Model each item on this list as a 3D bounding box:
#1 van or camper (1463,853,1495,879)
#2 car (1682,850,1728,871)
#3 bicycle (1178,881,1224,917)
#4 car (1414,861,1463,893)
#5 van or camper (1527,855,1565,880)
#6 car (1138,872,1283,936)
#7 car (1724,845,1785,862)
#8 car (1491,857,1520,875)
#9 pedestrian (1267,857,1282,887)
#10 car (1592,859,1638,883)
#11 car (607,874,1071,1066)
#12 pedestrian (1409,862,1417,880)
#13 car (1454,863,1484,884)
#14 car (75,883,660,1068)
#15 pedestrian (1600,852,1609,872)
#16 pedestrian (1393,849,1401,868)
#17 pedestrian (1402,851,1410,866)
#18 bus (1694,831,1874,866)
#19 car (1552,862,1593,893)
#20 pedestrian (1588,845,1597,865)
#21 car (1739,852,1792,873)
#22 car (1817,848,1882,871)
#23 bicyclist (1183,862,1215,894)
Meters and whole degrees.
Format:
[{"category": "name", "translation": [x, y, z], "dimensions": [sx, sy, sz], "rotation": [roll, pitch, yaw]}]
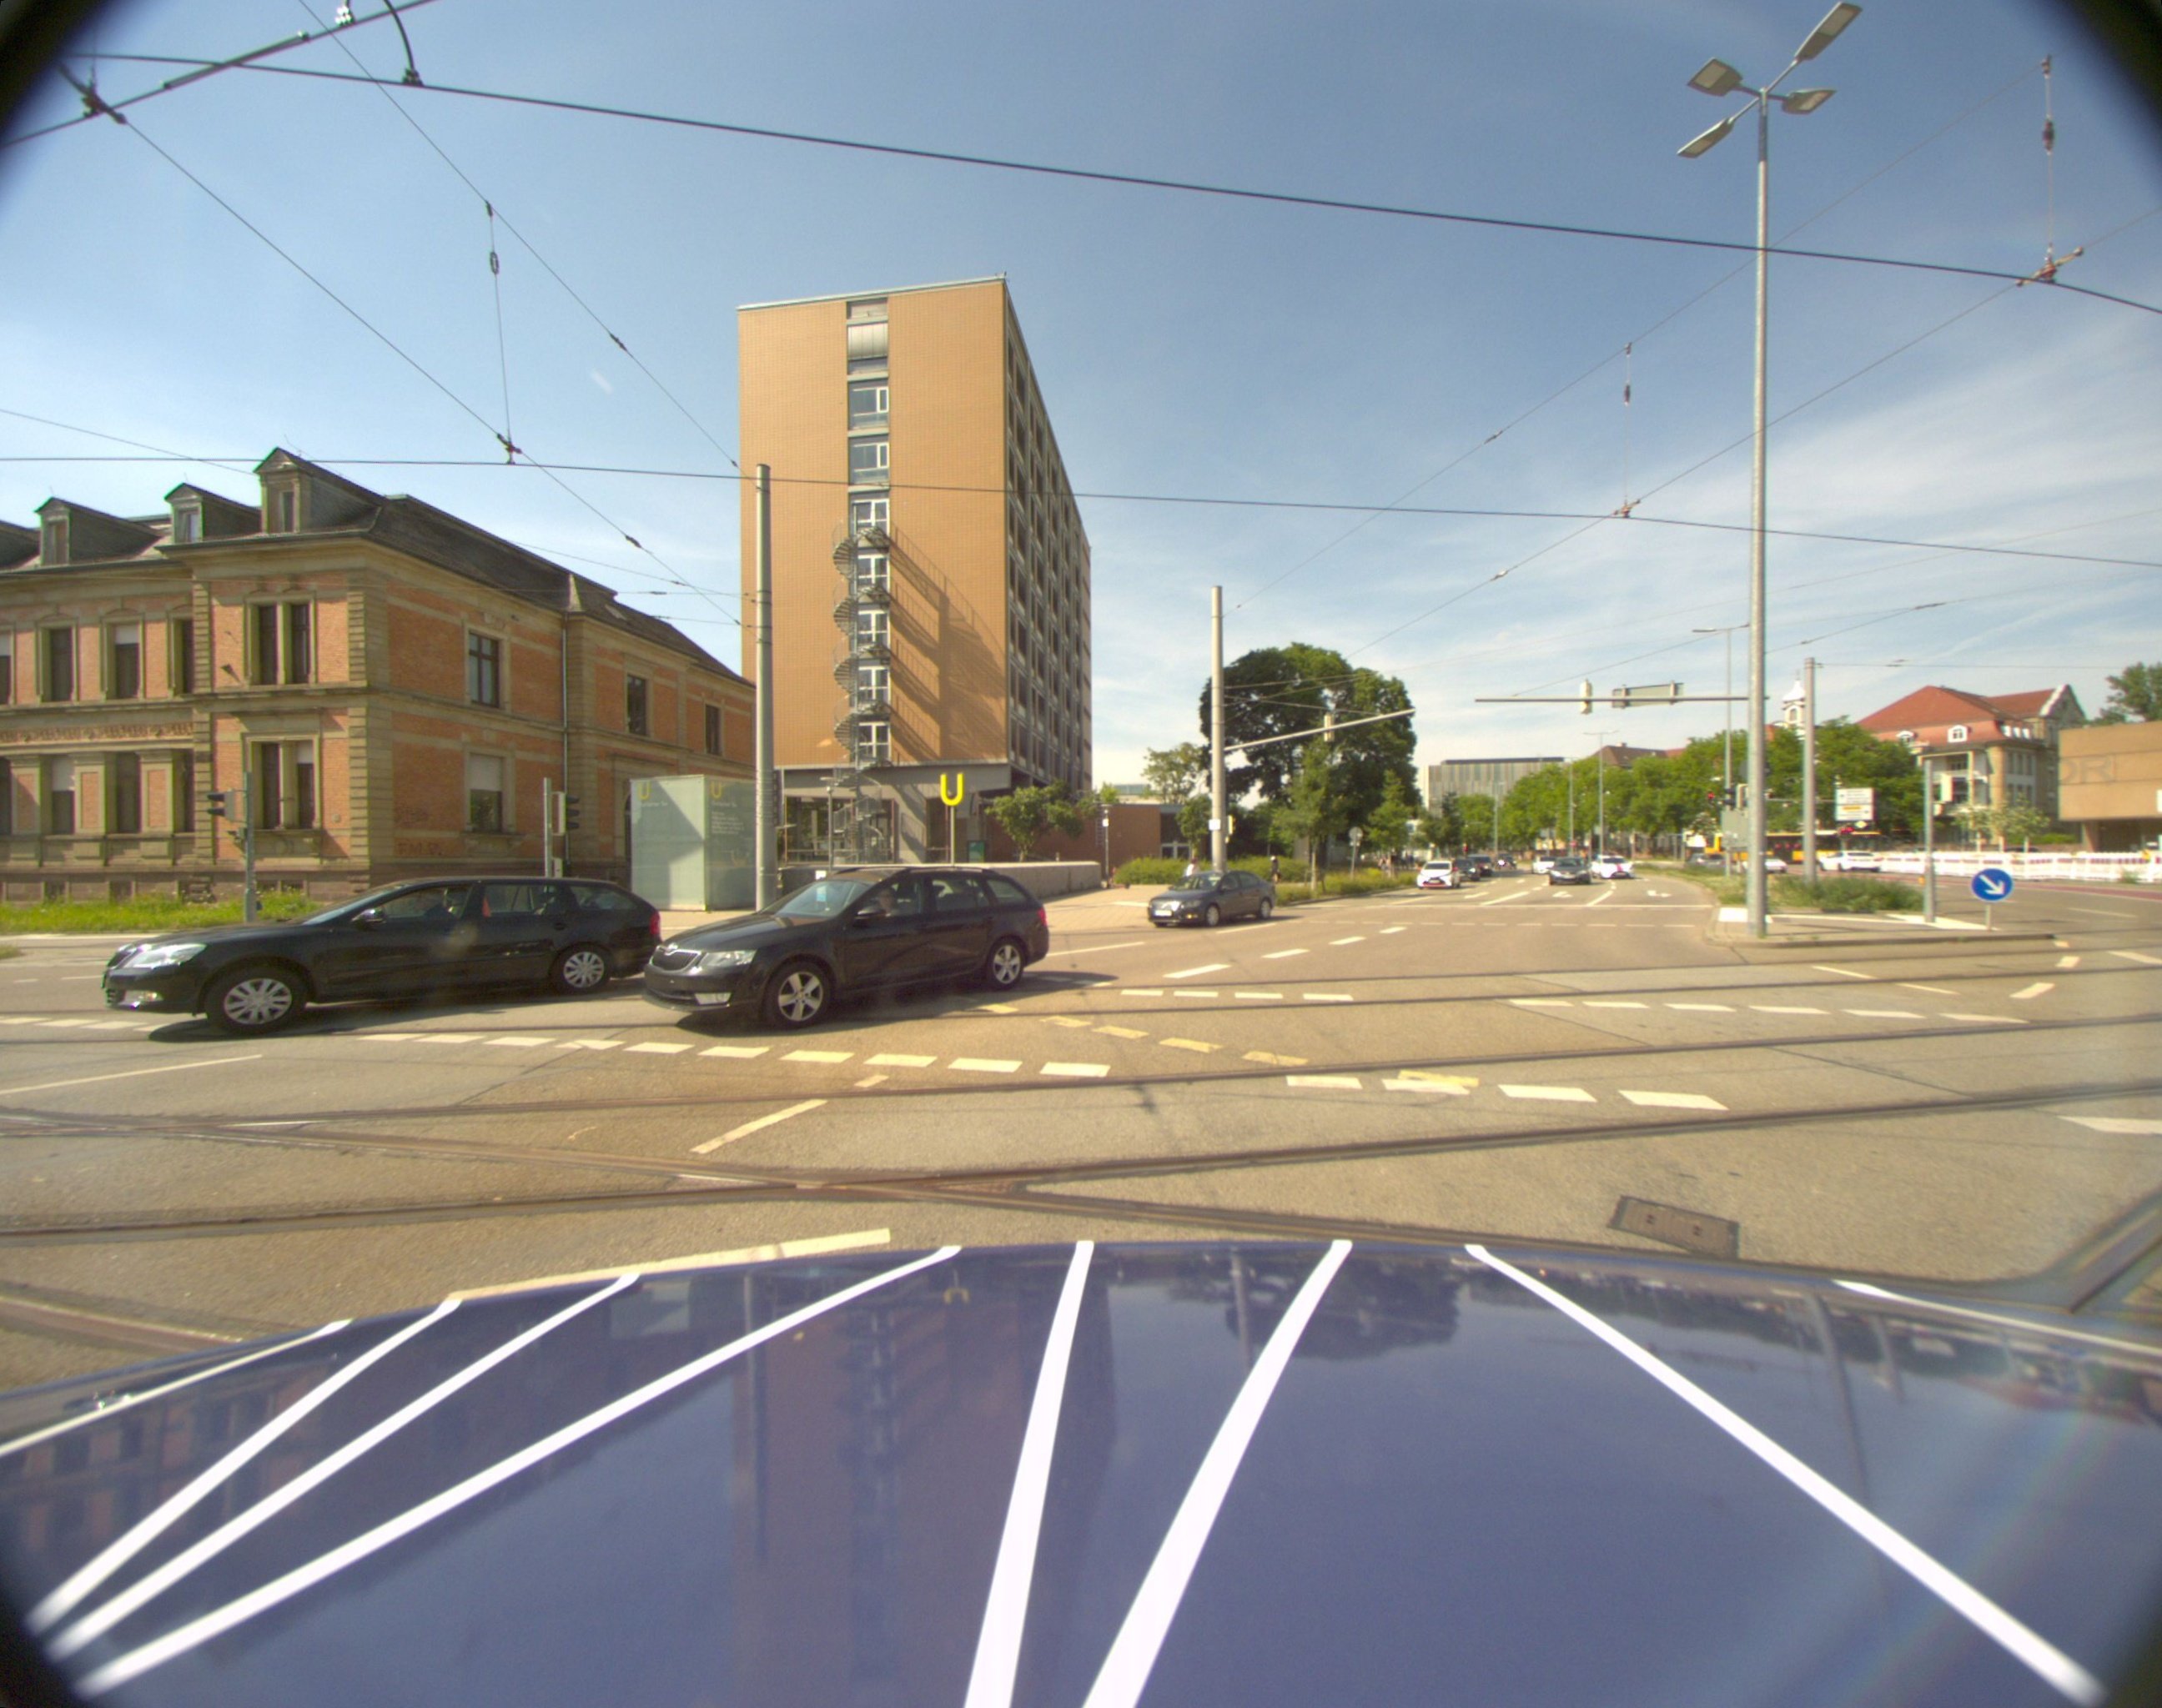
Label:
[{"category": "van or camper", "translation": [31.243, 0.885, 59.744], "dimensions": [1.726, 1.876, 4.930], "rotation": [-3, -1, 22]}, {"category": "car", "translation": [43.742, 0.435, 53.341], "dimensions": [1.595, 1.279, 4.007], "rotation": [-3, -1, 27]}, {"category": "bicycle", "translation": [3.990, 1.493, 25.490], "dimensions": [0.717, 1.009, 1.915], "rotation": [0, 2, -18]}, {"category": "car", "translation": [18.539, 1.148, 39.323], "dimensions": [1.678, 1.466, 3.767], "rotation": [-3, -1, 34]}, {"category": "van or camper", "translation": [36.943, 1.027, 60.465], "dimensions": [1.916, 1.876, 4.930], "rotation": [-1, 0, 23]}, {"category": "car", "translation": [3.653, 1.284, 20.816], "dimensions": [1.631, 1.427, 4.538], "rotation": [-2, 0, 43]}, {"category": "car", "translation": [66.565, -0.019, 75.113], "dimensions": [4.105, 1.434, 1.762], "rotation": [-3, -1, 17]}, {"category": "car", "translation": [44.480, 1.244, 79.744], "dimensions": [1.960, 1.783, 4.005], "rotation": [0, 0, 19]}, {"category": "pedestrian", "translation": [10.948, 1.026, 42.962], "dimensions": [0.591, 1.655, 0.733], "rotation": [2, 2, 38]}, {"category": "car", "translation": [32.600, 1.012, 46.446], "dimensions": [1.652, 1.406, 3.870], "rotation": [-1, 0, 25]}, {"category": "car", "translation": [-2.279, 0.991, 8.450], "dimensions": [1.631, 1.427, 4.790], "rotation": [0, 0, 39]}, {"category": "pedestrian", "translation": [32.364, 1.629, 74.017], "dimensions": [0.642, 1.664, 0.753], "rotation": [1, 2, 18]}, {"category": "car", "translation": [25.298, 1.222, 49.492], "dimensions": [1.406, 1.287, 3.588], "rotation": [-1, 0, 32]}, {"category": "car", "translation": [-7.351, 1.066, 8.368], "dimensions": [1.701, 1.421, 4.408], "rotation": [0, -1, 40]}, {"category": "pedestrian", "translation": [44.285, 0.674, 64.274], "dimensions": [0.642, 1.664, 0.754], "rotation": [0, 0, 38]}, {"category": "pedestrian", "translation": [30.640, 0.432, 73.775], "dimensions": [0.642, 1.754, 0.475], "rotation": [1, 2, 17]}, {"category": "pedestrian", "translation": [31.477, 0.404, 73.544], "dimensions": [0.642, 1.438, 0.570], "rotation": [1, 2, 17]}, {"category": "bus", "translation": [65.024, -0.475, 70.741], "dimensions": [12.120, 3.020, 2.801], "rotation": [-1, 0, 21]}, {"category": "car", "translation": [25.705, 1.202, 39.675], "dimensions": [1.647, 1.416, 4.128], "rotation": [-3, -1, 34]}, {"category": "pedestrian", "translation": [43.146, 0.075, 64.080], "dimensions": [0.540, 1.664, 0.754], "rotation": [0, 0, 38]}, {"category": "car", "translation": [46.003, 0.572, 51.144], "dimensions": [1.595, 1.279, 4.007], "rotation": [-3, -1, 27]}, {"category": "car", "translation": [50.790, 0.341, 50.319], "dimensions": [1.799, 1.411, 4.007], "rotation": [-3, -1, 27]}, {"category": "bicyclist", "translation": [3.970, 0.785, 25.523], "dimensions": [0.717, 1.023, 0.914], "rotation": [0, 2, -18]}]
